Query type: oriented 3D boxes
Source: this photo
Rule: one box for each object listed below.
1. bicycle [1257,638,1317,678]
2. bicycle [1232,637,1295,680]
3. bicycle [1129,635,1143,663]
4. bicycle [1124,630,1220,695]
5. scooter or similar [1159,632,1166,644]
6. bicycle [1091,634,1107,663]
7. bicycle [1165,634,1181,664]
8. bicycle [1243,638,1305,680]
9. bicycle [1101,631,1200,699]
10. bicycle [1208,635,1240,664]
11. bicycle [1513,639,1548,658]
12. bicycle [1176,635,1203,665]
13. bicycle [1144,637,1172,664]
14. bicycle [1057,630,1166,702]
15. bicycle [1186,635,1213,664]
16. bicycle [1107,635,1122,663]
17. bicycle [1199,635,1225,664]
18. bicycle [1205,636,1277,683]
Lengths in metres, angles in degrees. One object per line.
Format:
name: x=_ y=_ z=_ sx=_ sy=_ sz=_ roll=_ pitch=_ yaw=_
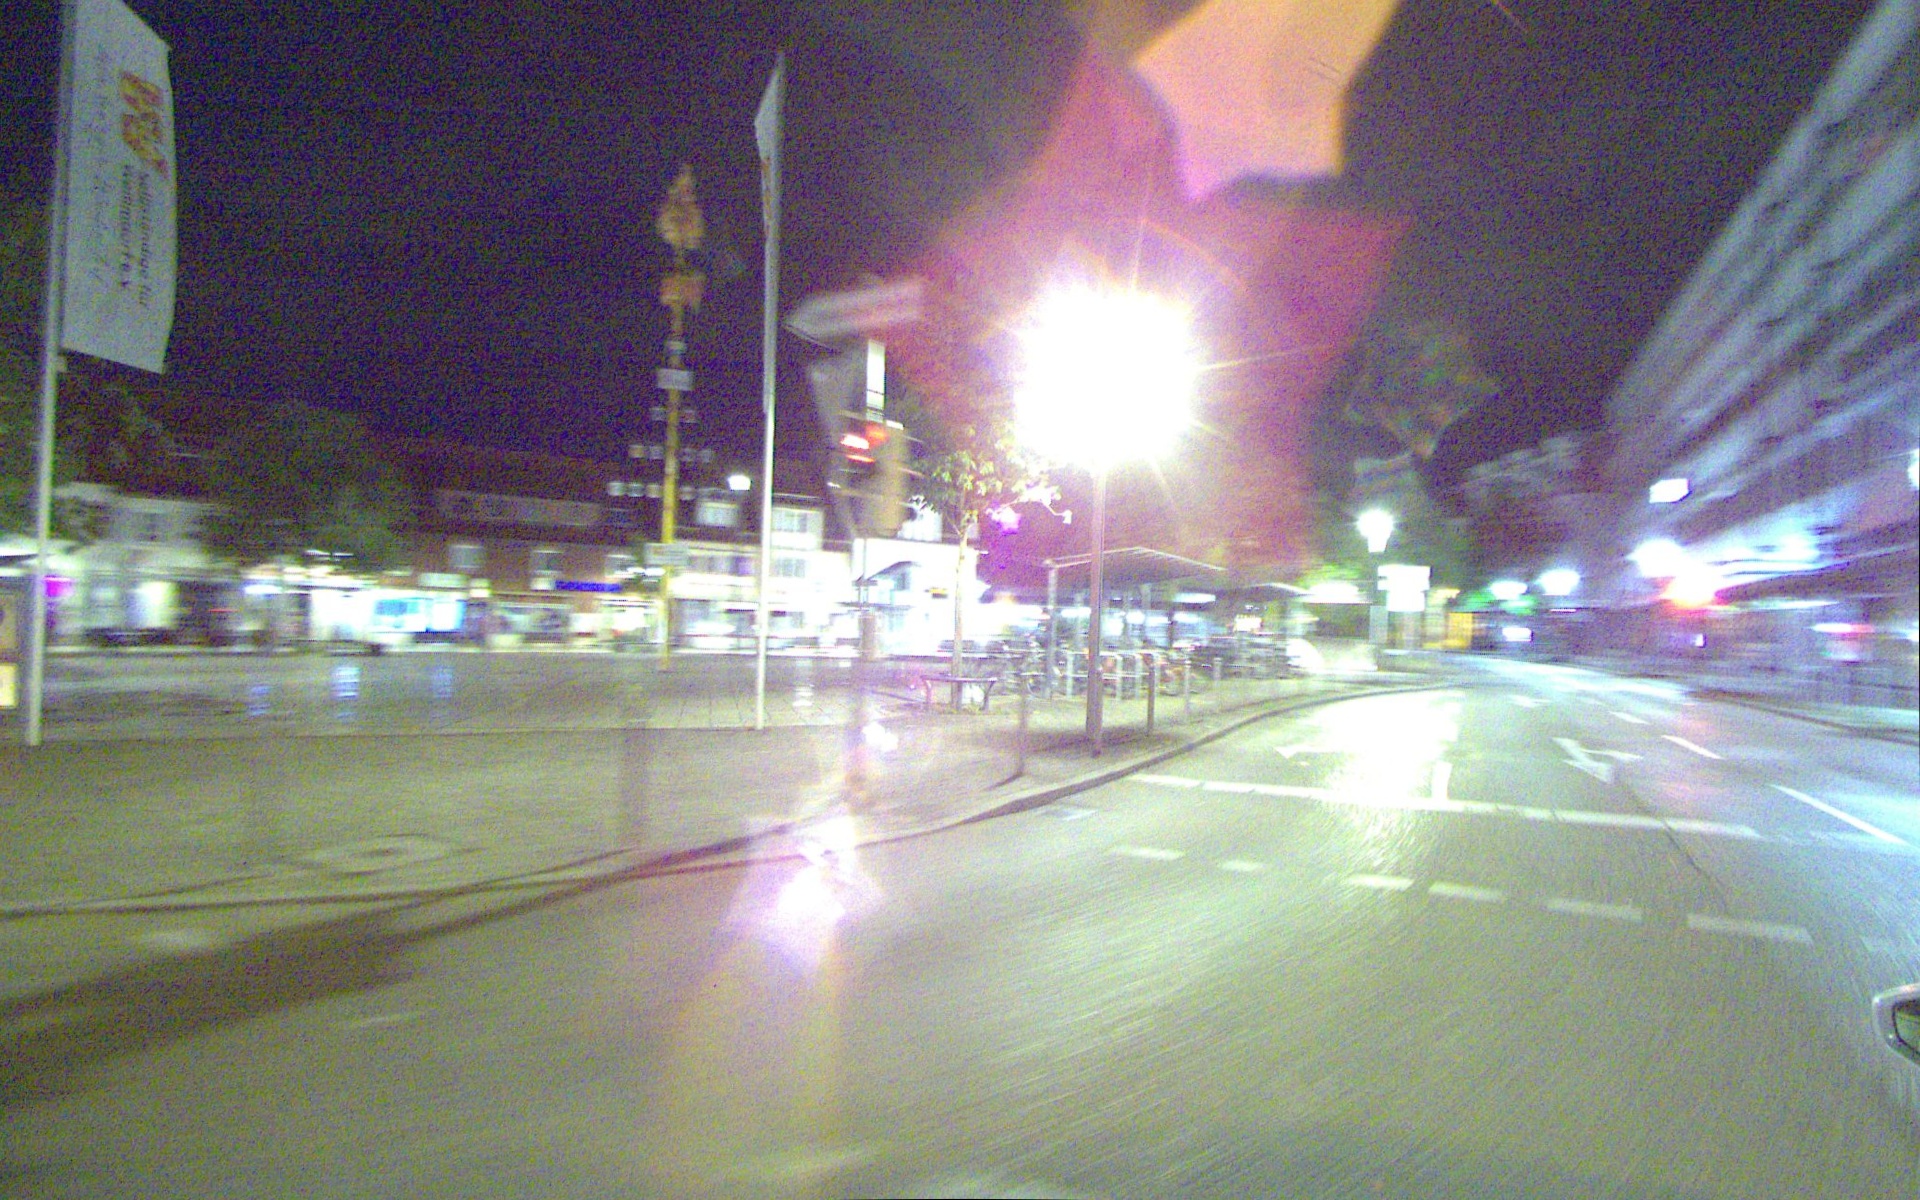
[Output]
bicycle: x=9.772 y=1.734 z=30.035 sx=1.591 sy=1.120 sz=0.669 roll=1 pitch=-2 yaw=27
bicycle: x=8.561 y=1.642 z=28.351 sx=1.591 sy=1.120 sz=0.669 roll=1 pitch=-2 yaw=27
bicycle: x=7.341 y=2.028 z=41.917 sx=0.596 sy=1.140 sz=1.748 roll=0 pitch=-1 yaw=10
bicycle: x=4.356 y=1.259 z=20.671 sx=1.710 sy=1.182 sz=0.785 roll=3 pitch=0 yaw=33
scooter or similar: x=23.028 y=4.290 z=114.041 sx=0.423 sy=1.302 sz=1.145 roll=0 pitch=-1 yaw=-7
bicycle: x=5.779 y=2.003 z=41.763 sx=0.596 sy=1.181 sz=1.748 roll=0 pitch=-1 yaw=10
bicycle: x=9.020 y=2.054 z=42.501 sx=0.596 sy=1.181 sz=1.748 roll=0 pitch=-1 yaw=10
bicycle: x=9.048 y=1.684 z=28.943 sx=1.591 sy=1.120 sz=0.669 roll=1 pitch=-2 yaw=27
bicycle: x=3.756 y=1.271 z=19.836 sx=1.710 sy=1.172 sz=0.785 roll=3 pitch=-1 yaw=33
bicycle: x=11.133 y=2.086 z=42.415 sx=0.747 sy=1.177 sz=1.746 roll=0 pitch=-1 yaw=-5
bicycle: x=33.947 y=2.897 z=59.799 sx=1.720 sy=1.077 sz=0.656 roll=1 pitch=0 yaw=3
bicycle: x=9.442 y=2.043 z=41.314 sx=0.597 sy=1.181 sz=1.746 roll=0 pitch=-1 yaw=-5
bicycle: x=8.206 y=2.088 z=41.721 sx=0.598 sy=1.084 sz=1.745 roll=0 pitch=-1 yaw=-8
bicycle: x=2.826 y=1.211 z=18.812 sx=1.808 sy=1.172 sz=0.785 roll=3 pitch=-1 yaw=33
bicycle: x=9.995 y=2.051 z=41.958 sx=0.597 sy=1.181 sz=1.746 roll=0 pitch=-1 yaw=-5
bicycle: x=6.506 y=2.040 z=42.228 sx=0.596 sy=1.115 sz=1.748 roll=0 pitch=-1 yaw=10
bicycle: x=10.486 y=2.056 z=41.830 sx=0.534 sy=1.170 sz=1.746 roll=0 pitch=-1 yaw=-5
bicycle: x=7.447 y=1.569 z=26.606 sx=1.742 sy=1.179 sz=0.669 roll=0 pitch=-2 yaw=27
